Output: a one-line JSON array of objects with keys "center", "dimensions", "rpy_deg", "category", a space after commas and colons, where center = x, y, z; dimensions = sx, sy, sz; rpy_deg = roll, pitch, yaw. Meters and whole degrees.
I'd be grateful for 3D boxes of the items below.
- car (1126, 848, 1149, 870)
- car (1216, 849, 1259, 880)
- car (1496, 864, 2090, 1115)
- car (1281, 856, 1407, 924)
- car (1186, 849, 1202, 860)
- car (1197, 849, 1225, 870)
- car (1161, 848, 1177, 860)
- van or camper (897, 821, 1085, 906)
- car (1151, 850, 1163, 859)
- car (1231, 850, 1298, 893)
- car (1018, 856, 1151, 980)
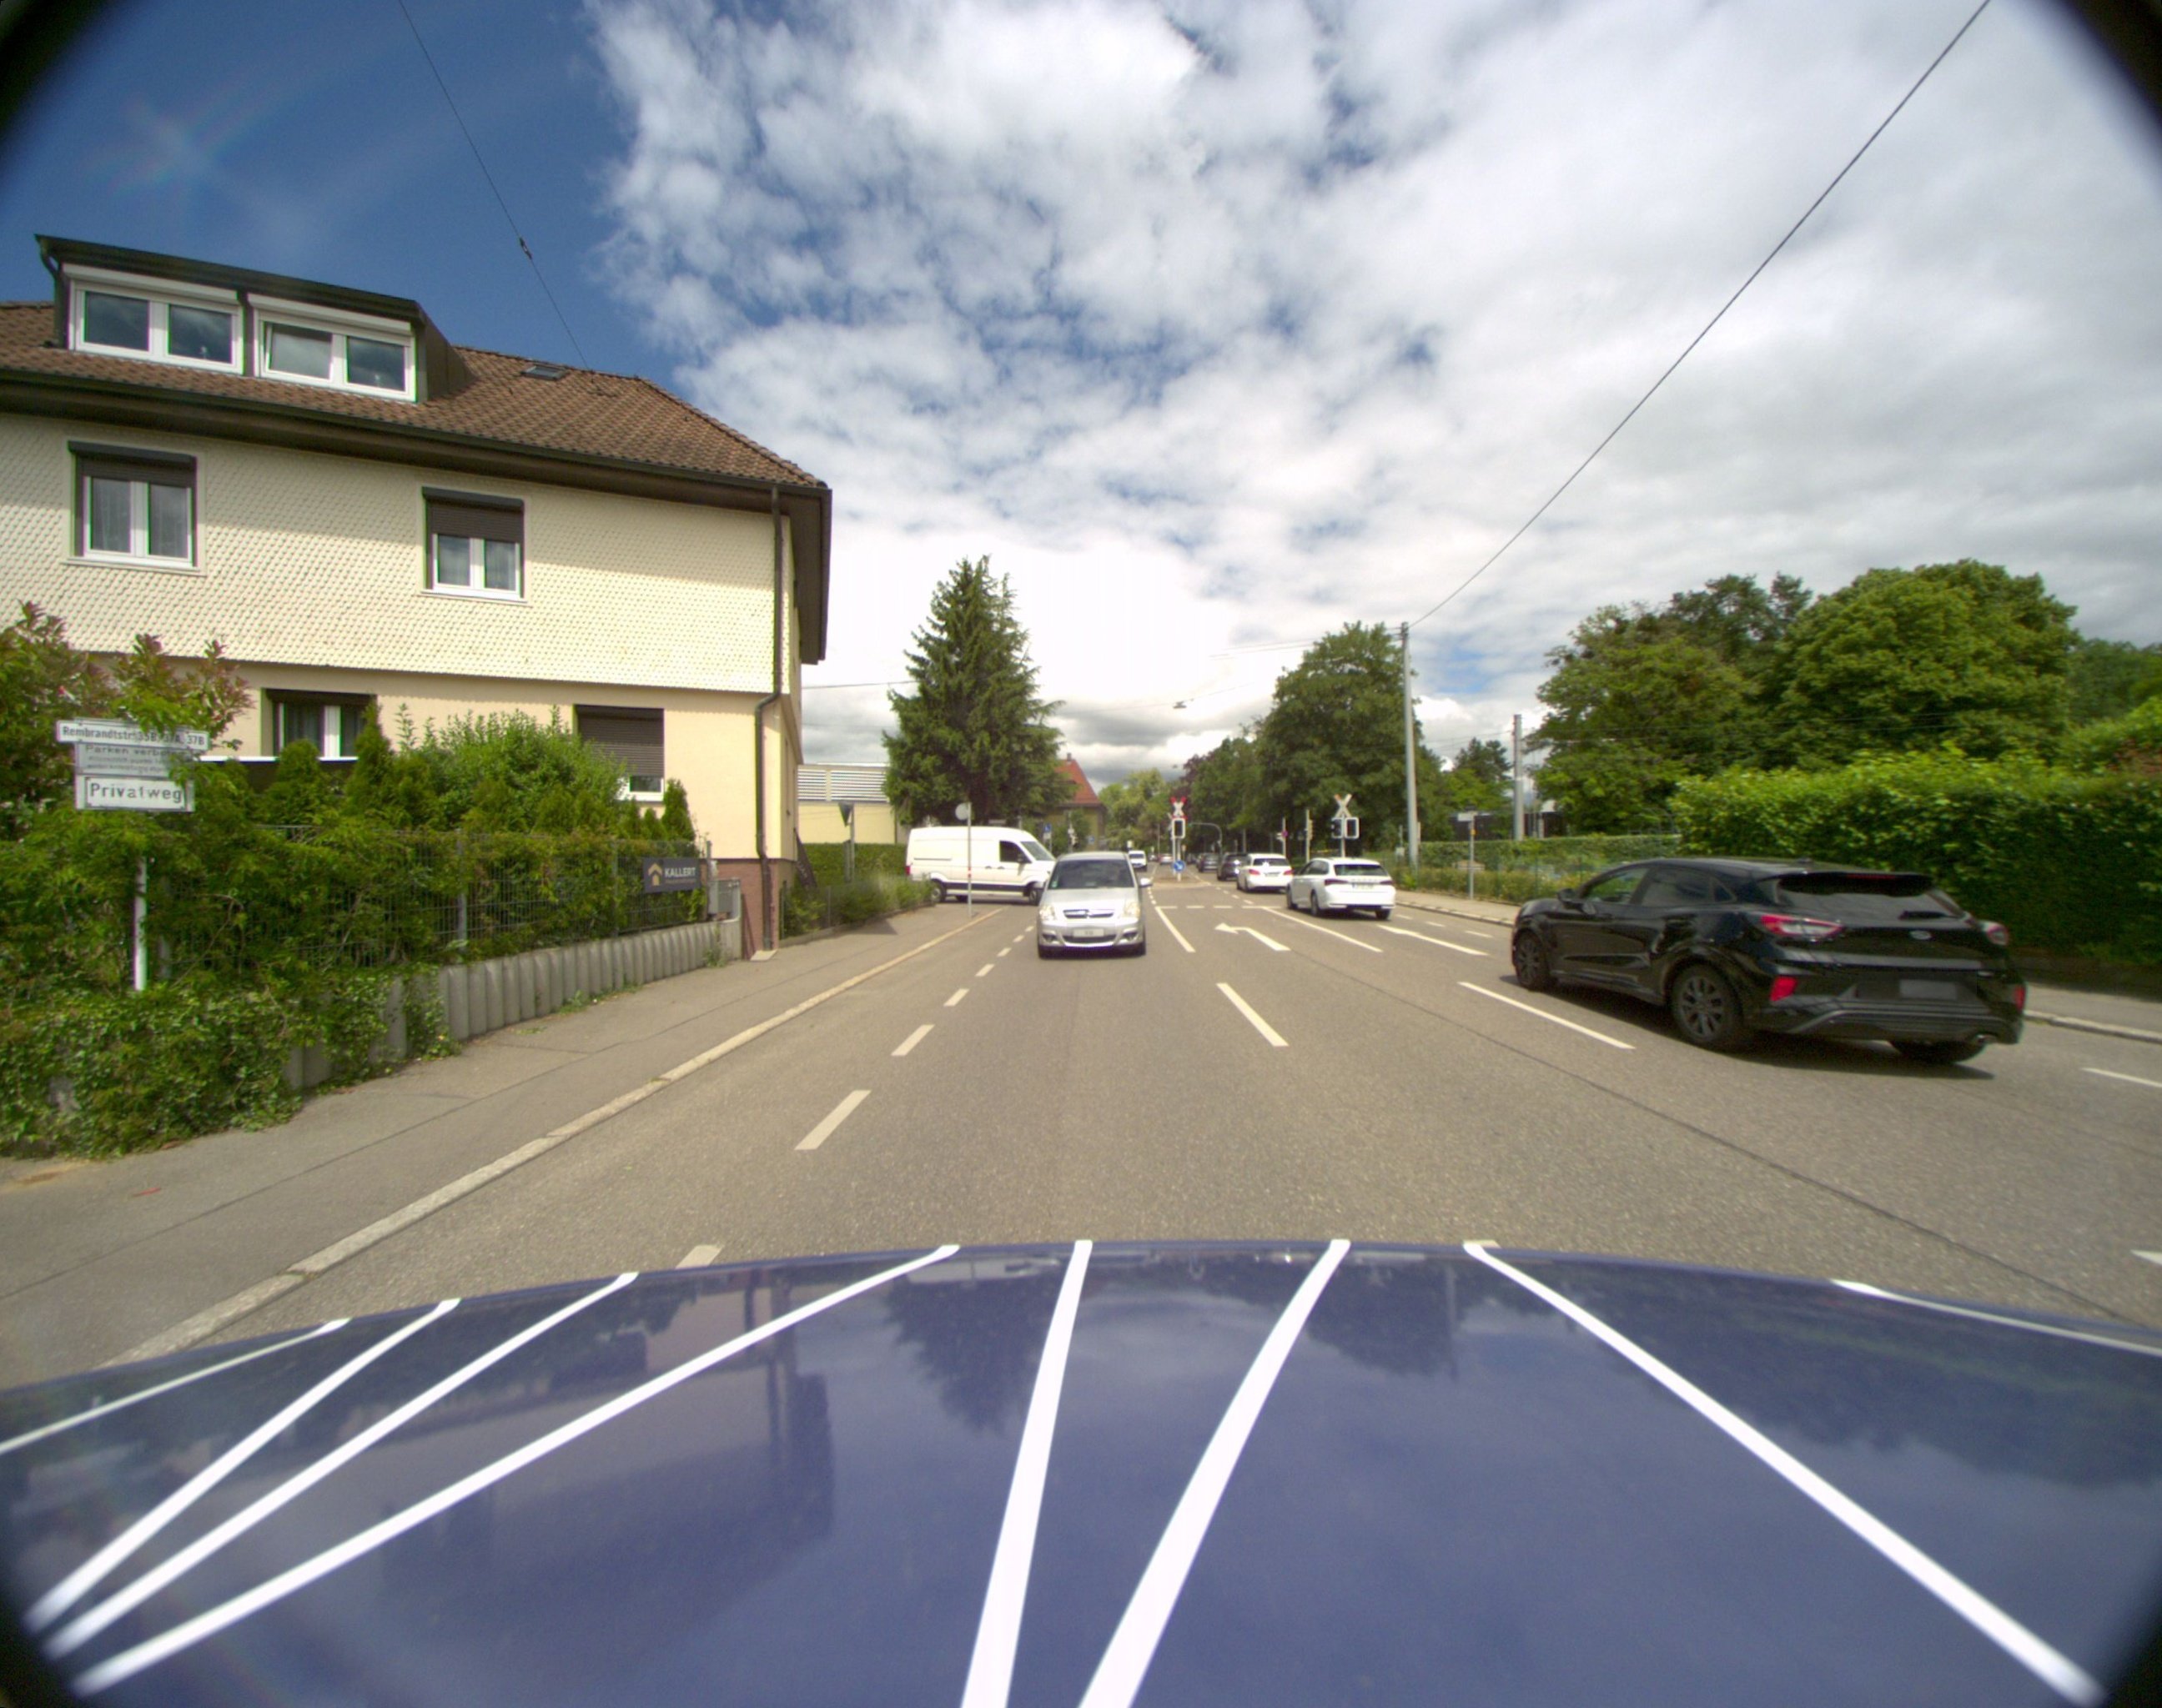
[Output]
[{"center": [4.962, 0.402, 67.024], "dimensions": [1.932, 1.771, 4.001], "rpy_deg": [-2, 1, 4], "category": "car"}, {"center": [8.850, 0.557, 43.306], "dimensions": [1.801, 1.583, 4.000], "rpy_deg": [-2, 0, 3], "category": "car"}, {"center": [5.647, 0.886, 6.917], "dimensions": [1.701, 1.448, 4.116], "rpy_deg": [1, 1, 4], "category": "car"}, {"center": [6.500, 0.810, 19.309], "dimensions": [1.880, 1.467, 4.443], "rpy_deg": [0, 1, 3], "category": "car"}, {"center": [15.010, 0.046, 101.125], "dimensions": [1.932, 1.412, 4.001], "rpy_deg": [-2, 0, 5], "category": "car"}, {"center": [10.559, 0.423, 61.901], "dimensions": [1.784, 1.576, 4.000], "rpy_deg": [-1, 1, 3], "category": "car"}, {"center": [11.401, -0.058, 98.456], "dimensions": [1.932, 1.412, 4.001], "rpy_deg": [-2, 0, 5], "category": "car"}, {"center": [-3.033, 0.375, 25.565], "dimensions": [5.909, 2.565, 2.034], "rpy_deg": [-2, 0, 20], "category": "van or camper"}, {"center": [13.544, 0.124, 135.249], "dimensions": [1.932, 1.412, 4.001], "rpy_deg": [-2, 0, 5], "category": "car"}, {"center": [7.278, 0.652, 30.502], "dimensions": [1.851, 1.565, 4.160], "rpy_deg": [-1, 1, 3], "category": "car"}, {"center": [0.164, 0.857, 12.202], "dimensions": [1.708, 1.531, 4.331], "rpy_deg": [-2, 0, 3], "category": "car"}]
